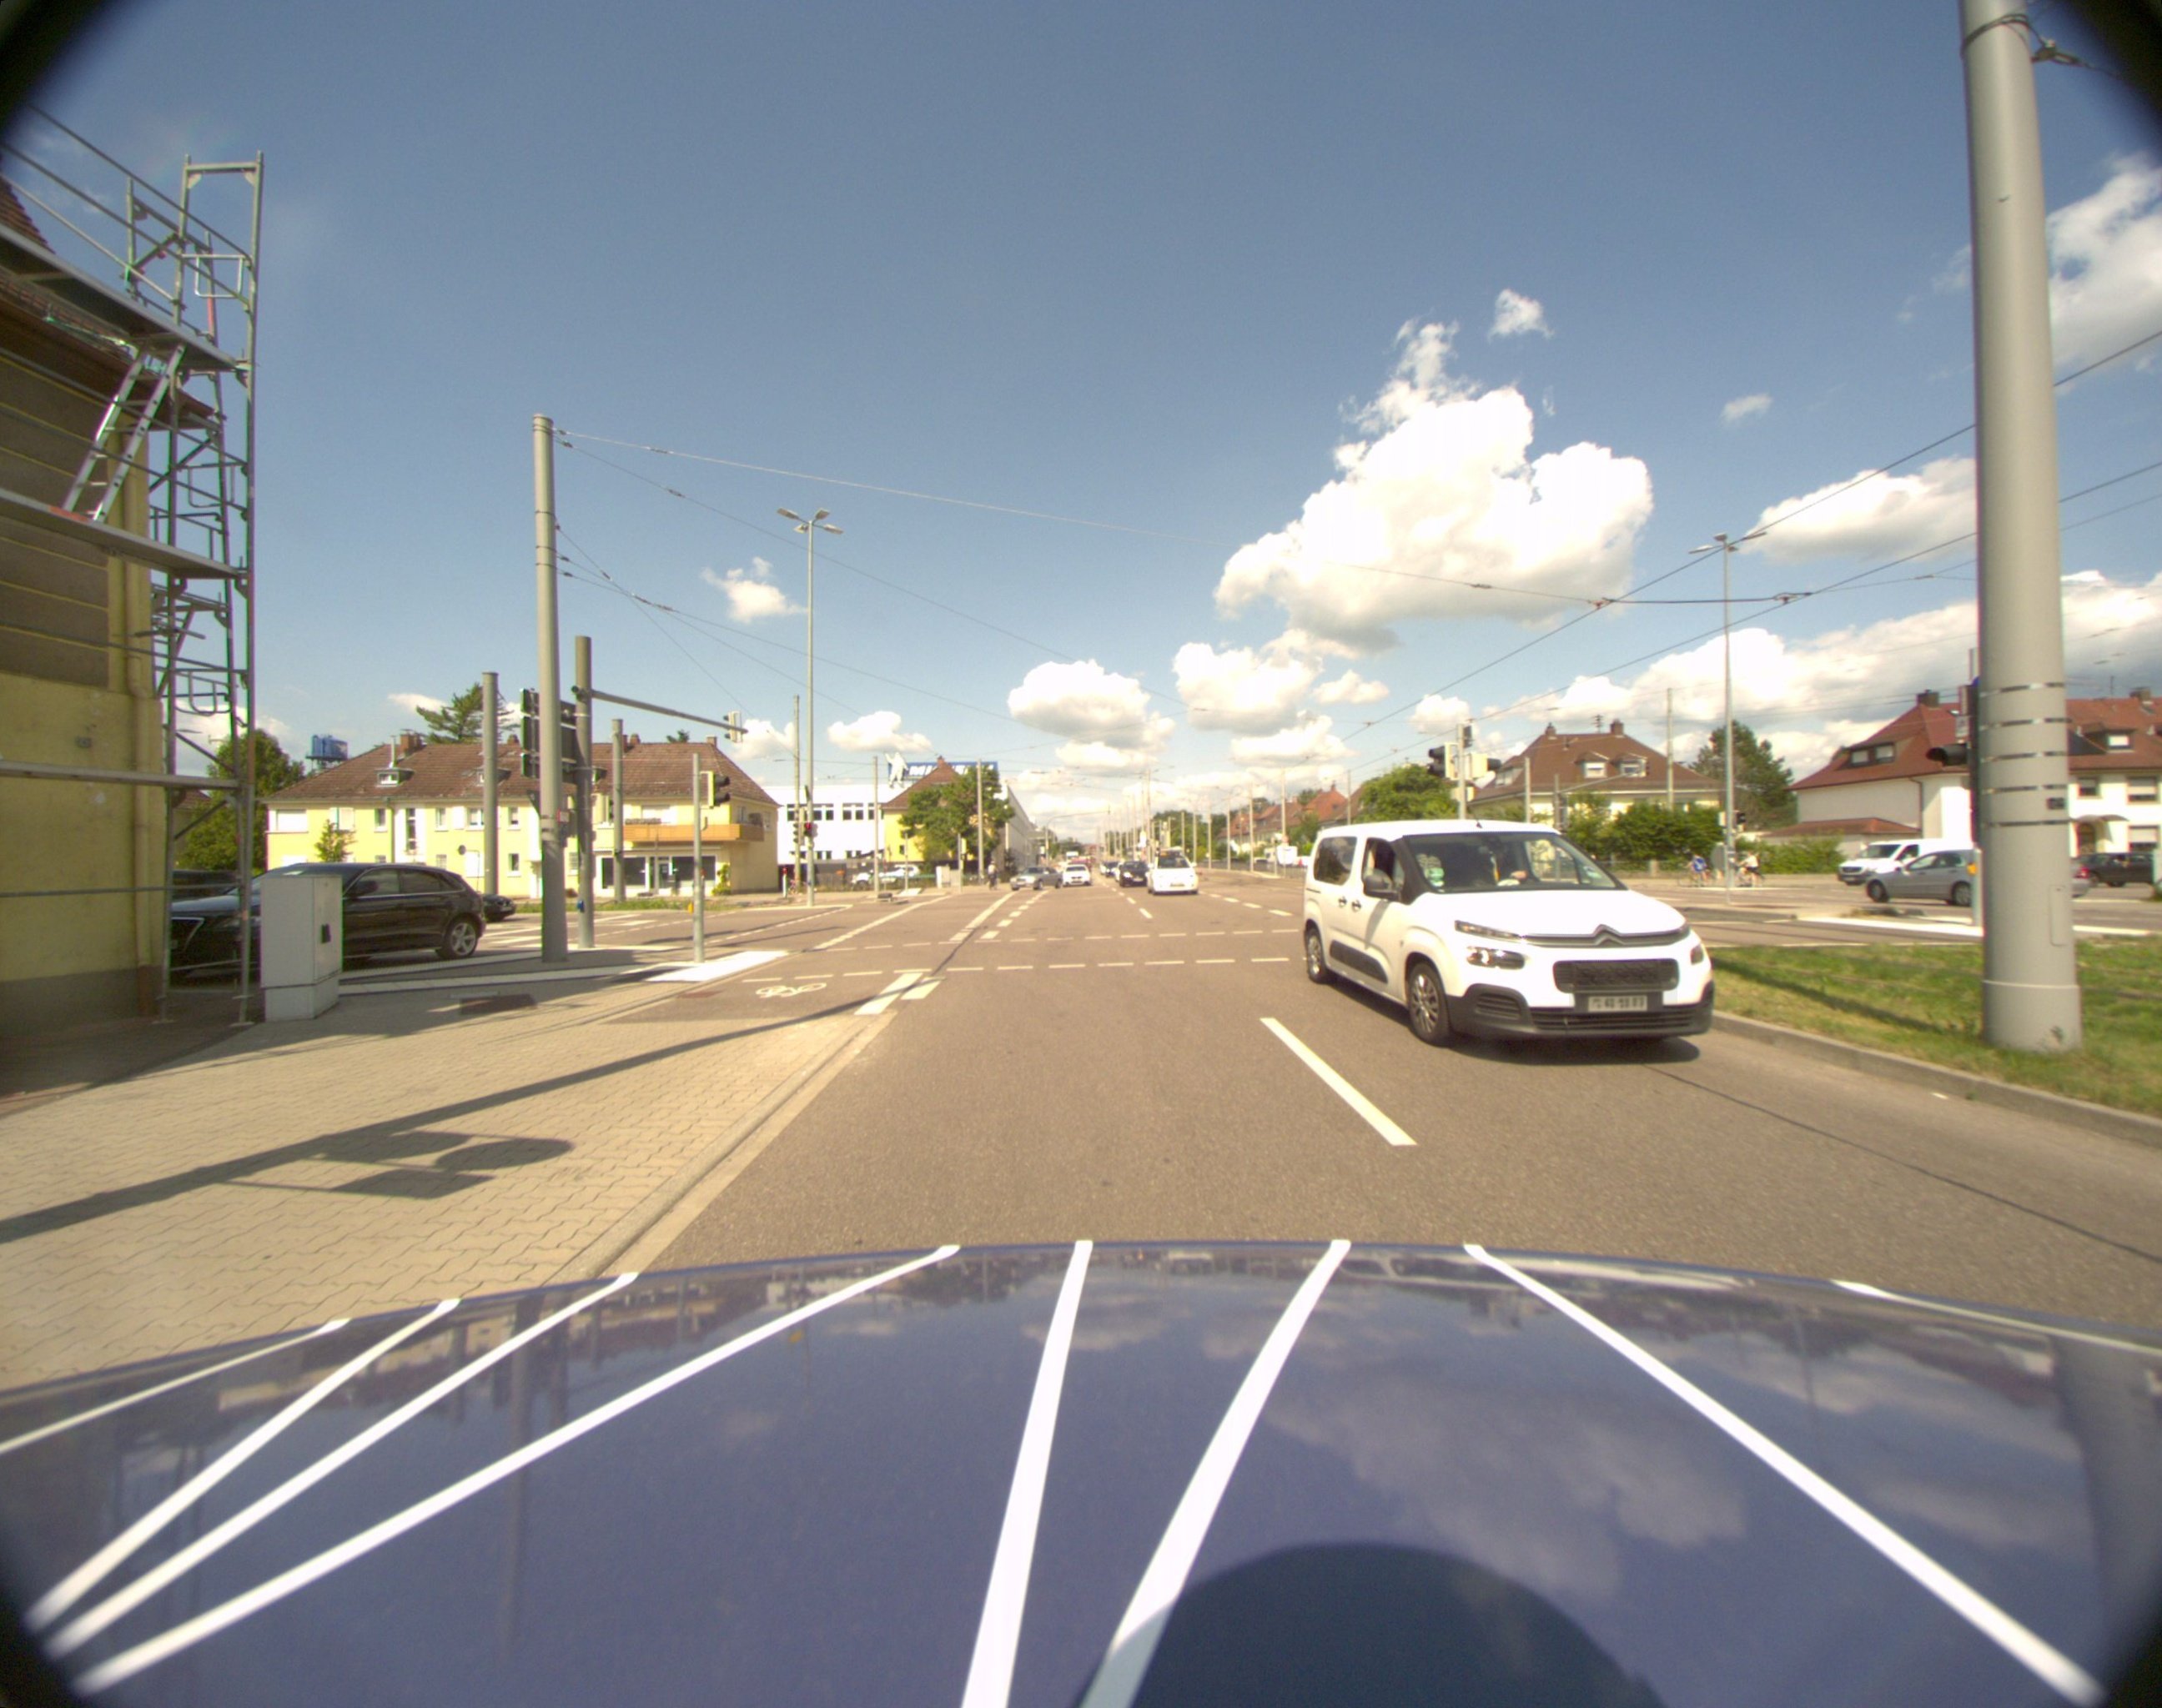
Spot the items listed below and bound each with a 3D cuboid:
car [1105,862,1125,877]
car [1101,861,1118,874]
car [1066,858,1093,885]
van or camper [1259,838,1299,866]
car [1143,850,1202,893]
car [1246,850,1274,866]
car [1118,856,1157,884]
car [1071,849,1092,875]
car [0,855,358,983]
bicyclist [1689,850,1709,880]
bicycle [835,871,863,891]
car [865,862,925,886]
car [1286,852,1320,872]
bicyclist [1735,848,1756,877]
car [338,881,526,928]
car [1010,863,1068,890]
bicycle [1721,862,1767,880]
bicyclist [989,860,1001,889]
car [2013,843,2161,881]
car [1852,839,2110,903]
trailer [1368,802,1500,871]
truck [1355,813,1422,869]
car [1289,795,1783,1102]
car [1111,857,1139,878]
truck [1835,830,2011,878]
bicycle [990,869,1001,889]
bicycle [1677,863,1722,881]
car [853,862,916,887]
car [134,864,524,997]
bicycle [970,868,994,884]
[{"bbox_3d":[3.460,1.560,77.423,1.698,1.350,4.498,-3,1,-1],"label":"car"},{"bbox_3d":[3.449,1.580,92.153,1.698,1.350,4.498,-3,1,-1],"label":"car"},{"bbox_3d":[-0.142,1.107,50.297,1.664,1.564,3.999,-3,1,-1],"label":"car"},{"bbox_3d":[22.338,-0.318,86.117,2.330,2.914,7.749,-1,2,-1],"label":"van or camper"},{"bbox_3d":[3.521,0.651,29.744,1.680,1.495,3.392,-3,0,-3],"label":"car"},{"bbox_3d":[19.156,0.424,81.544,1.998,1.543,4.177,2,1,1],"label":"car"},{"bbox_3d":[3.144,0.849,42.798,1.680,1.414,3.557,-3,1,-3],"label":"car"},{"bbox_3d":[0.001,0.699,69.846,1.787,2.134,5.168,-3,1,-1],"label":"car"},{"bbox_3d":[-14.334,0.875,11.870,1.998,1.587,4.131,-3,1,1],"label":"car"},{"bbox_3d":[32.220,0.562,39.622,0.501,1.489,0.602,-3,1,2],"label":"bicyclist"},{"bbox_3d":[-14.281,1.670,46.745,1.576,1.131,0.380,-3,1,-27],"label":"bicycle"},{"bbox_3d":[-13.901,1.479,57.085,4.118,1.587,1.799,-2,0,-6],"label":"car"},{"bbox_3d":[19.099,0.635,65.491,1.799,1.627,4.471,0,1,2],"label":"car"},{"bbox_3d":[34.670,0.438,39.640,0.501,1.489,0.602,-3,1,2],"label":"bicyclist"},{"bbox_3d":[-20.397,1.564,24.024,4.327,1.321,1.739,0,1,-3],"label":"car"},{"bbox_3d":[-2.436,1.276,44.796,1.723,1.389,4.469,-3,0,20],"label":"car"},{"bbox_3d":[34.605,0.881,39.654,1.808,0.830,0.602,-3,1,2],"label":"bicycle"},{"bbox_3d":[-5.287,1.243,46.857,0.652,1.727,0.983,-3,1,-6],"label":"bicyclist"},{"bbox_3d":[46.918,0.344,35.478,4.173,1.543,2.000,-2,1,3],"label":"car"},{"bbox_3d":[21.760,0.347,18.717,1.797,1.379,4.475,0,1,14],"label":"car"},{"bbox_3d":[22.229,-0.915,49.081,2.605,3.798,12.837,1,-1,0],"label":"trailer"},{"bbox_3d":[22.259,-0.864,55.274,2.605,3.798,5.668,1,0,1],"label":"truck"},{"bbox_3d":[3.404,0.567,6.845,1.799,1.804,4.329,-3,1,0],"label":"car"},{"bbox_3d":[3.309,0.994,57.501,1.698,1.350,4.498,-3,1,-1],"label":"car"},{"bbox_3d":[40.051,-0.016,36.232,6.199,1.910,1.690,-3,1,3],"label":"truck"},{"bbox_3d":[-5.244,1.539,46.625,0.652,1.111,1.587,-3,1,-6],"label":"bicycle"},{"bbox_3d":[32.250,0.958,39.634,1.808,0.830,0.602,-3,1,2],"label":"bicycle"},{"bbox_3d":[-13.984,1.432,54.289,4.118,1.587,1.799,-2,0,-6],"label":"car"},{"bbox_3d":[-11.487,1.044,12.144,1.998,1.587,4.131,-3,1,1],"label":"car"},{"bbox_3d":[-6.922,1.556,53.150,0.462,1.013,1.759,-2,1,40],"label":"bicycle"}]
